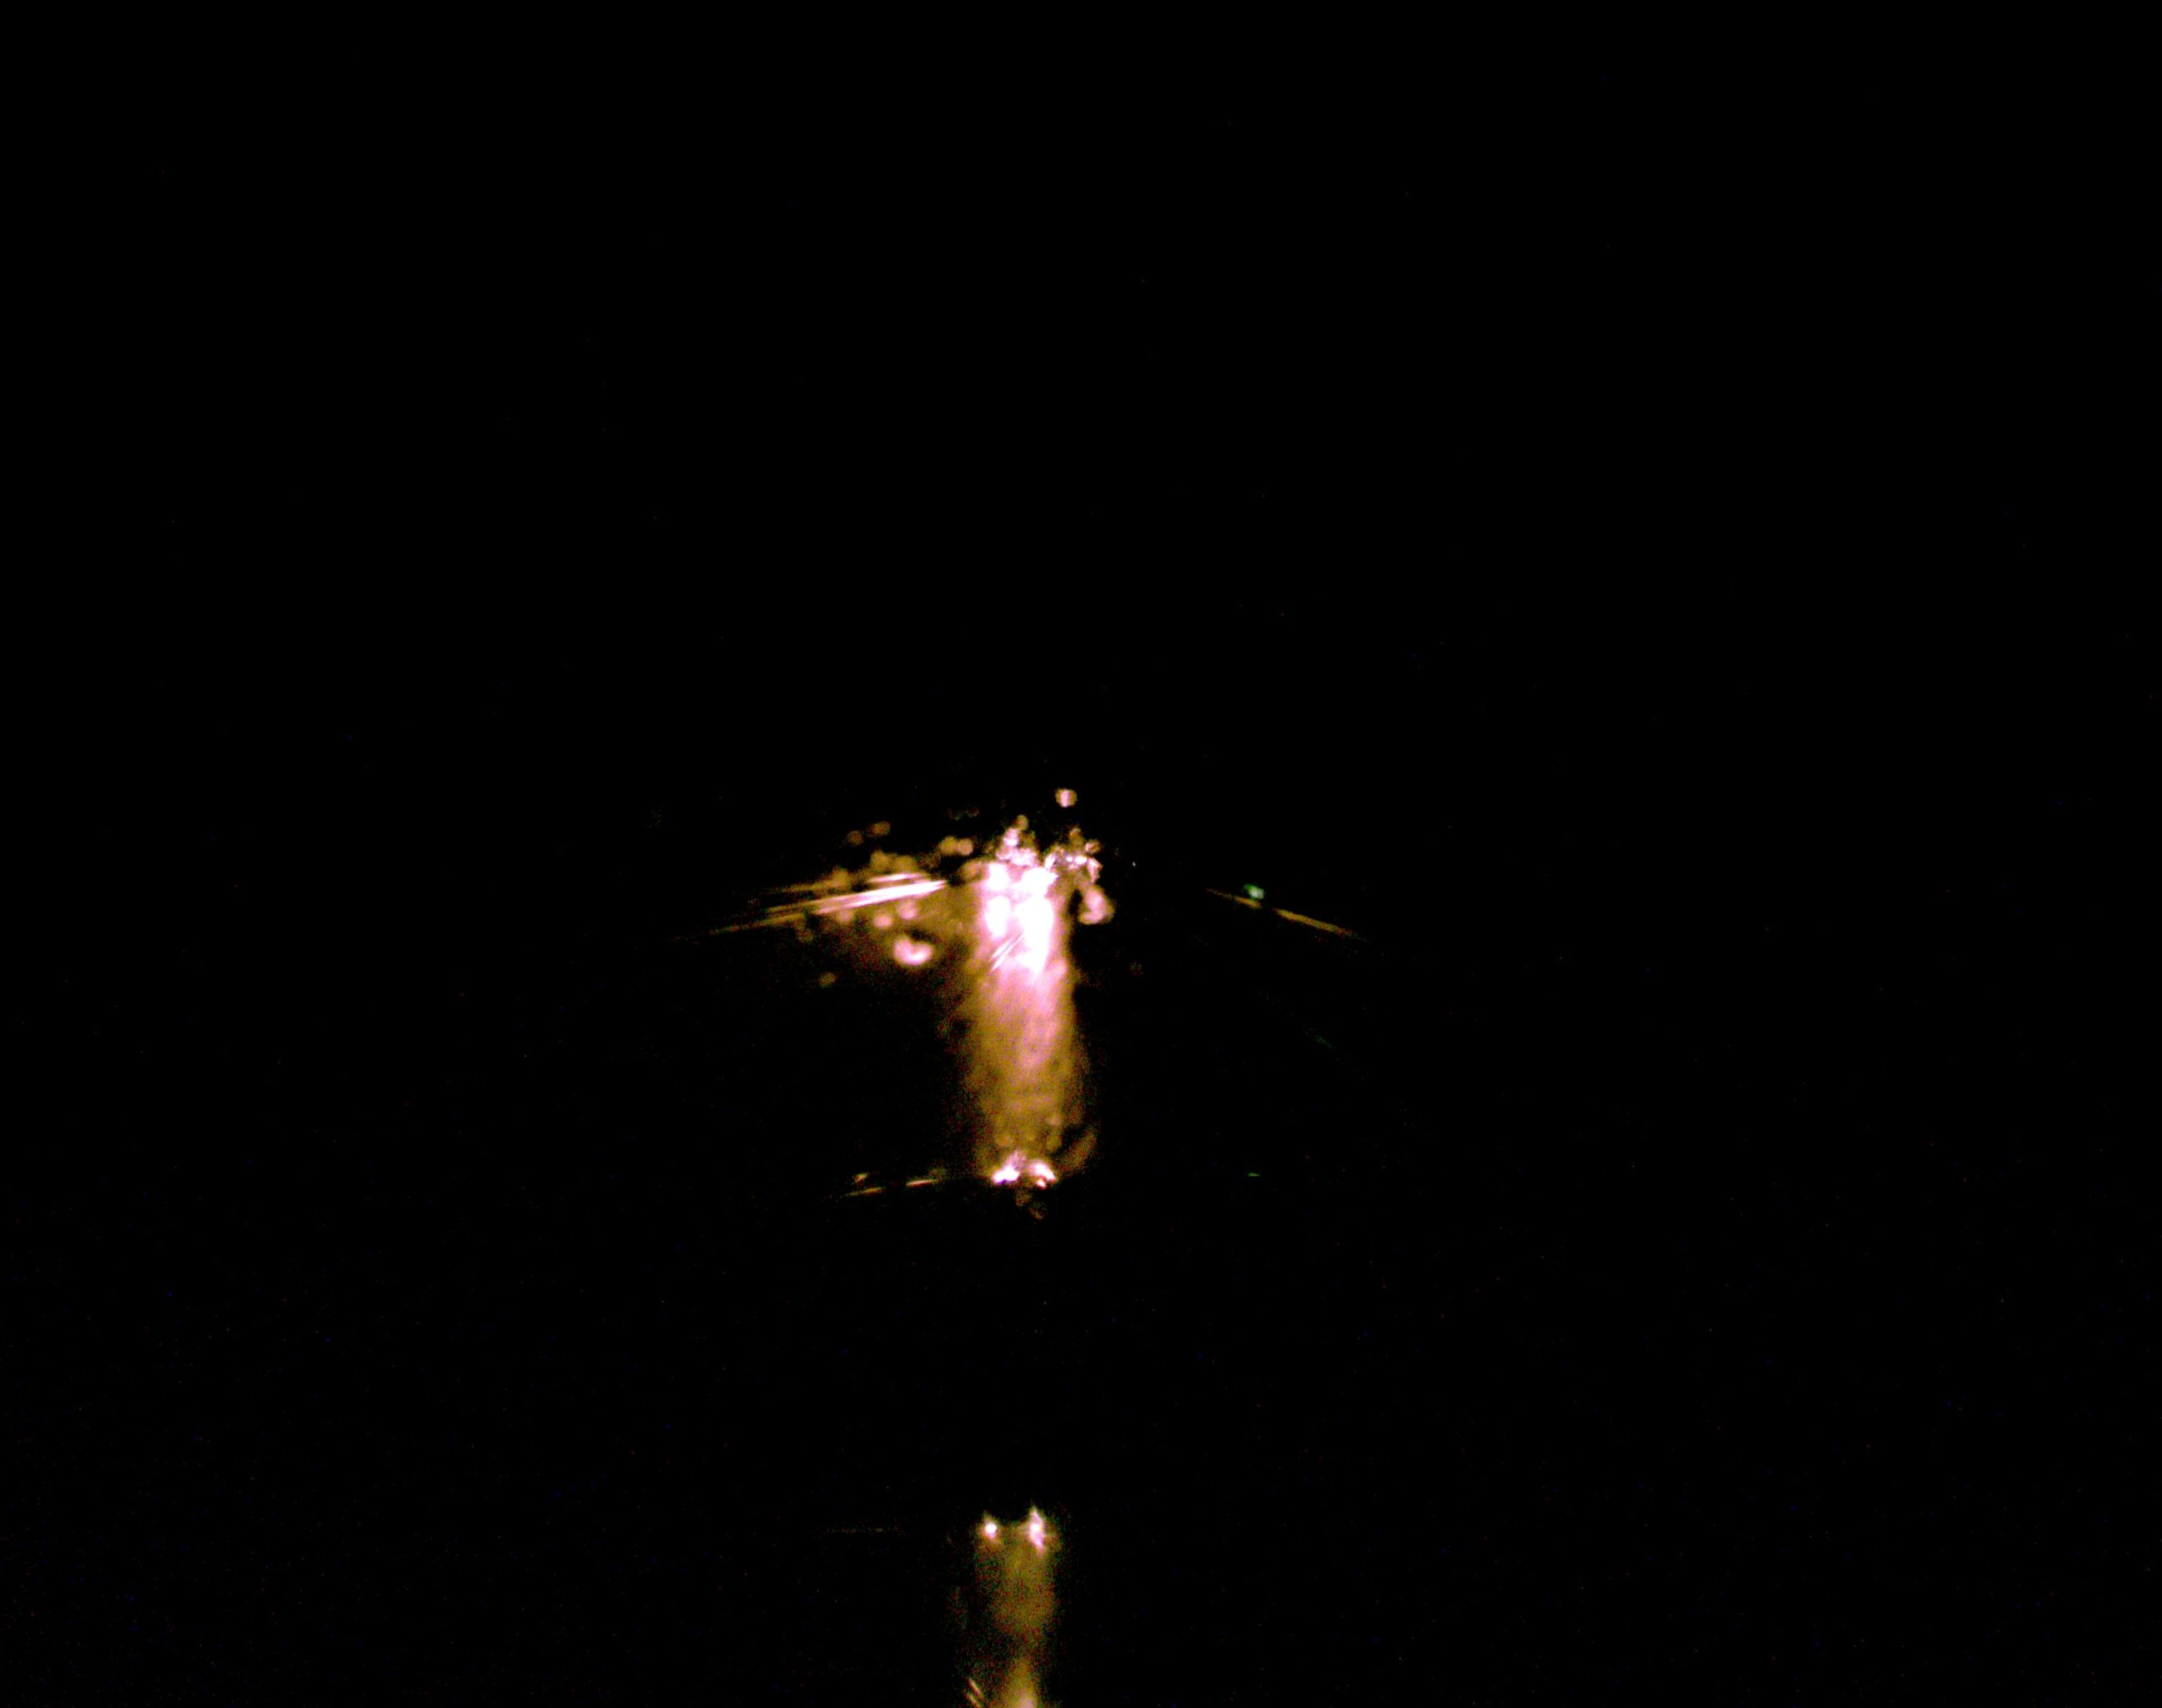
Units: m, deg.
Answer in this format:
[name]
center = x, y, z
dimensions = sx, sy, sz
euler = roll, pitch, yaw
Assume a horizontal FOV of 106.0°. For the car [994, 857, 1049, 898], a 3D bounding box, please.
[car]
center = -2.390, 0.932, 33.955
dimensions = 1.828, 1.545, 4.647
euler = -1, -1, 1
